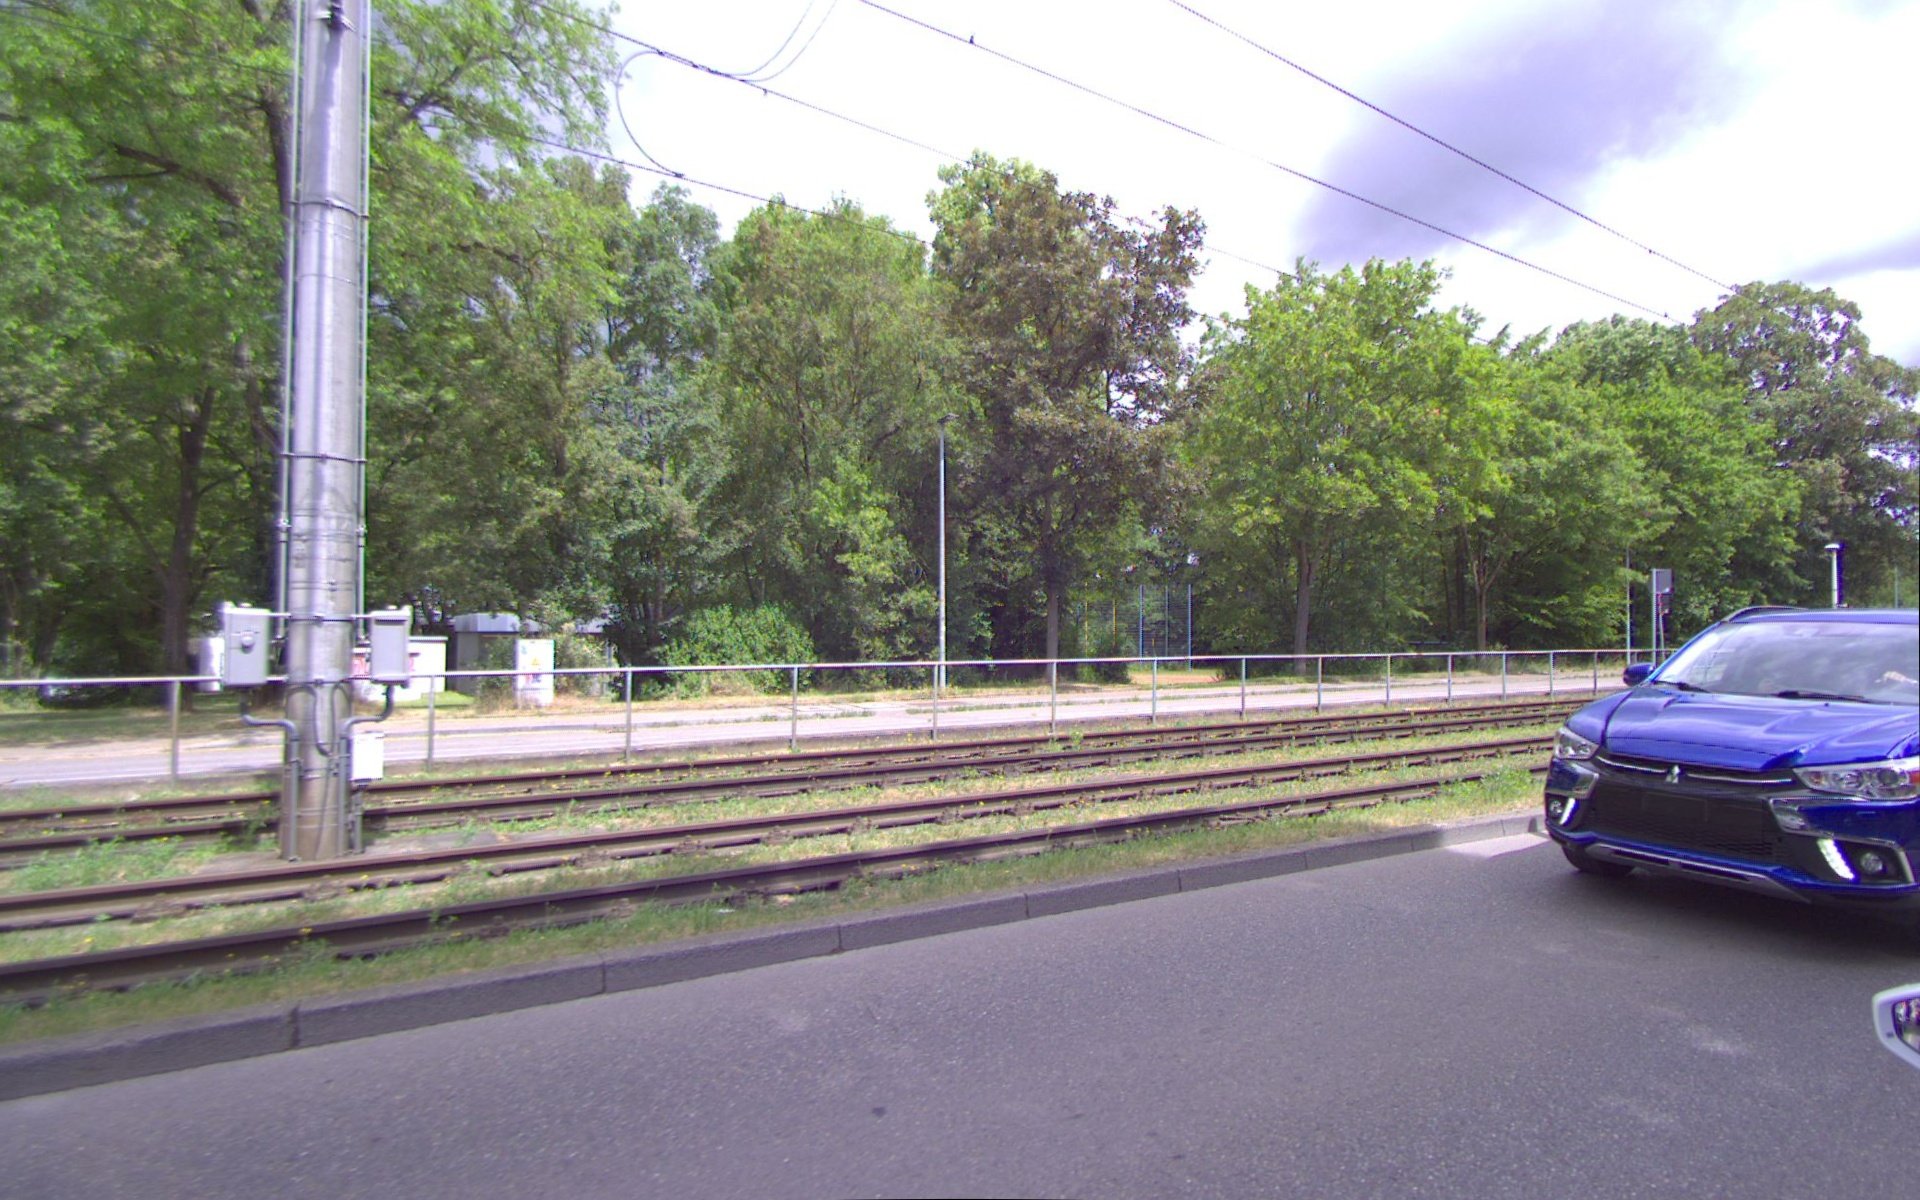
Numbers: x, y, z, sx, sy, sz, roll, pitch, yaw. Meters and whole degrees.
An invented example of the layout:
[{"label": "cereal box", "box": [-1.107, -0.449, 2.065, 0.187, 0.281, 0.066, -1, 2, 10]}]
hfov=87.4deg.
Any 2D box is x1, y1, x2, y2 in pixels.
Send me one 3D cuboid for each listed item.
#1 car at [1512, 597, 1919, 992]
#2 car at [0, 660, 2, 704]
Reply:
[{"label": "car", "box": [5.233, 0.800, 5.852, 4.118, 1.587, 1.704, 0, 0, -31]}, {"label": "car", "box": [-46.747, 3.876, 46.834, 1.975, 2.129, 3.972, 2, -4, -28]}]
